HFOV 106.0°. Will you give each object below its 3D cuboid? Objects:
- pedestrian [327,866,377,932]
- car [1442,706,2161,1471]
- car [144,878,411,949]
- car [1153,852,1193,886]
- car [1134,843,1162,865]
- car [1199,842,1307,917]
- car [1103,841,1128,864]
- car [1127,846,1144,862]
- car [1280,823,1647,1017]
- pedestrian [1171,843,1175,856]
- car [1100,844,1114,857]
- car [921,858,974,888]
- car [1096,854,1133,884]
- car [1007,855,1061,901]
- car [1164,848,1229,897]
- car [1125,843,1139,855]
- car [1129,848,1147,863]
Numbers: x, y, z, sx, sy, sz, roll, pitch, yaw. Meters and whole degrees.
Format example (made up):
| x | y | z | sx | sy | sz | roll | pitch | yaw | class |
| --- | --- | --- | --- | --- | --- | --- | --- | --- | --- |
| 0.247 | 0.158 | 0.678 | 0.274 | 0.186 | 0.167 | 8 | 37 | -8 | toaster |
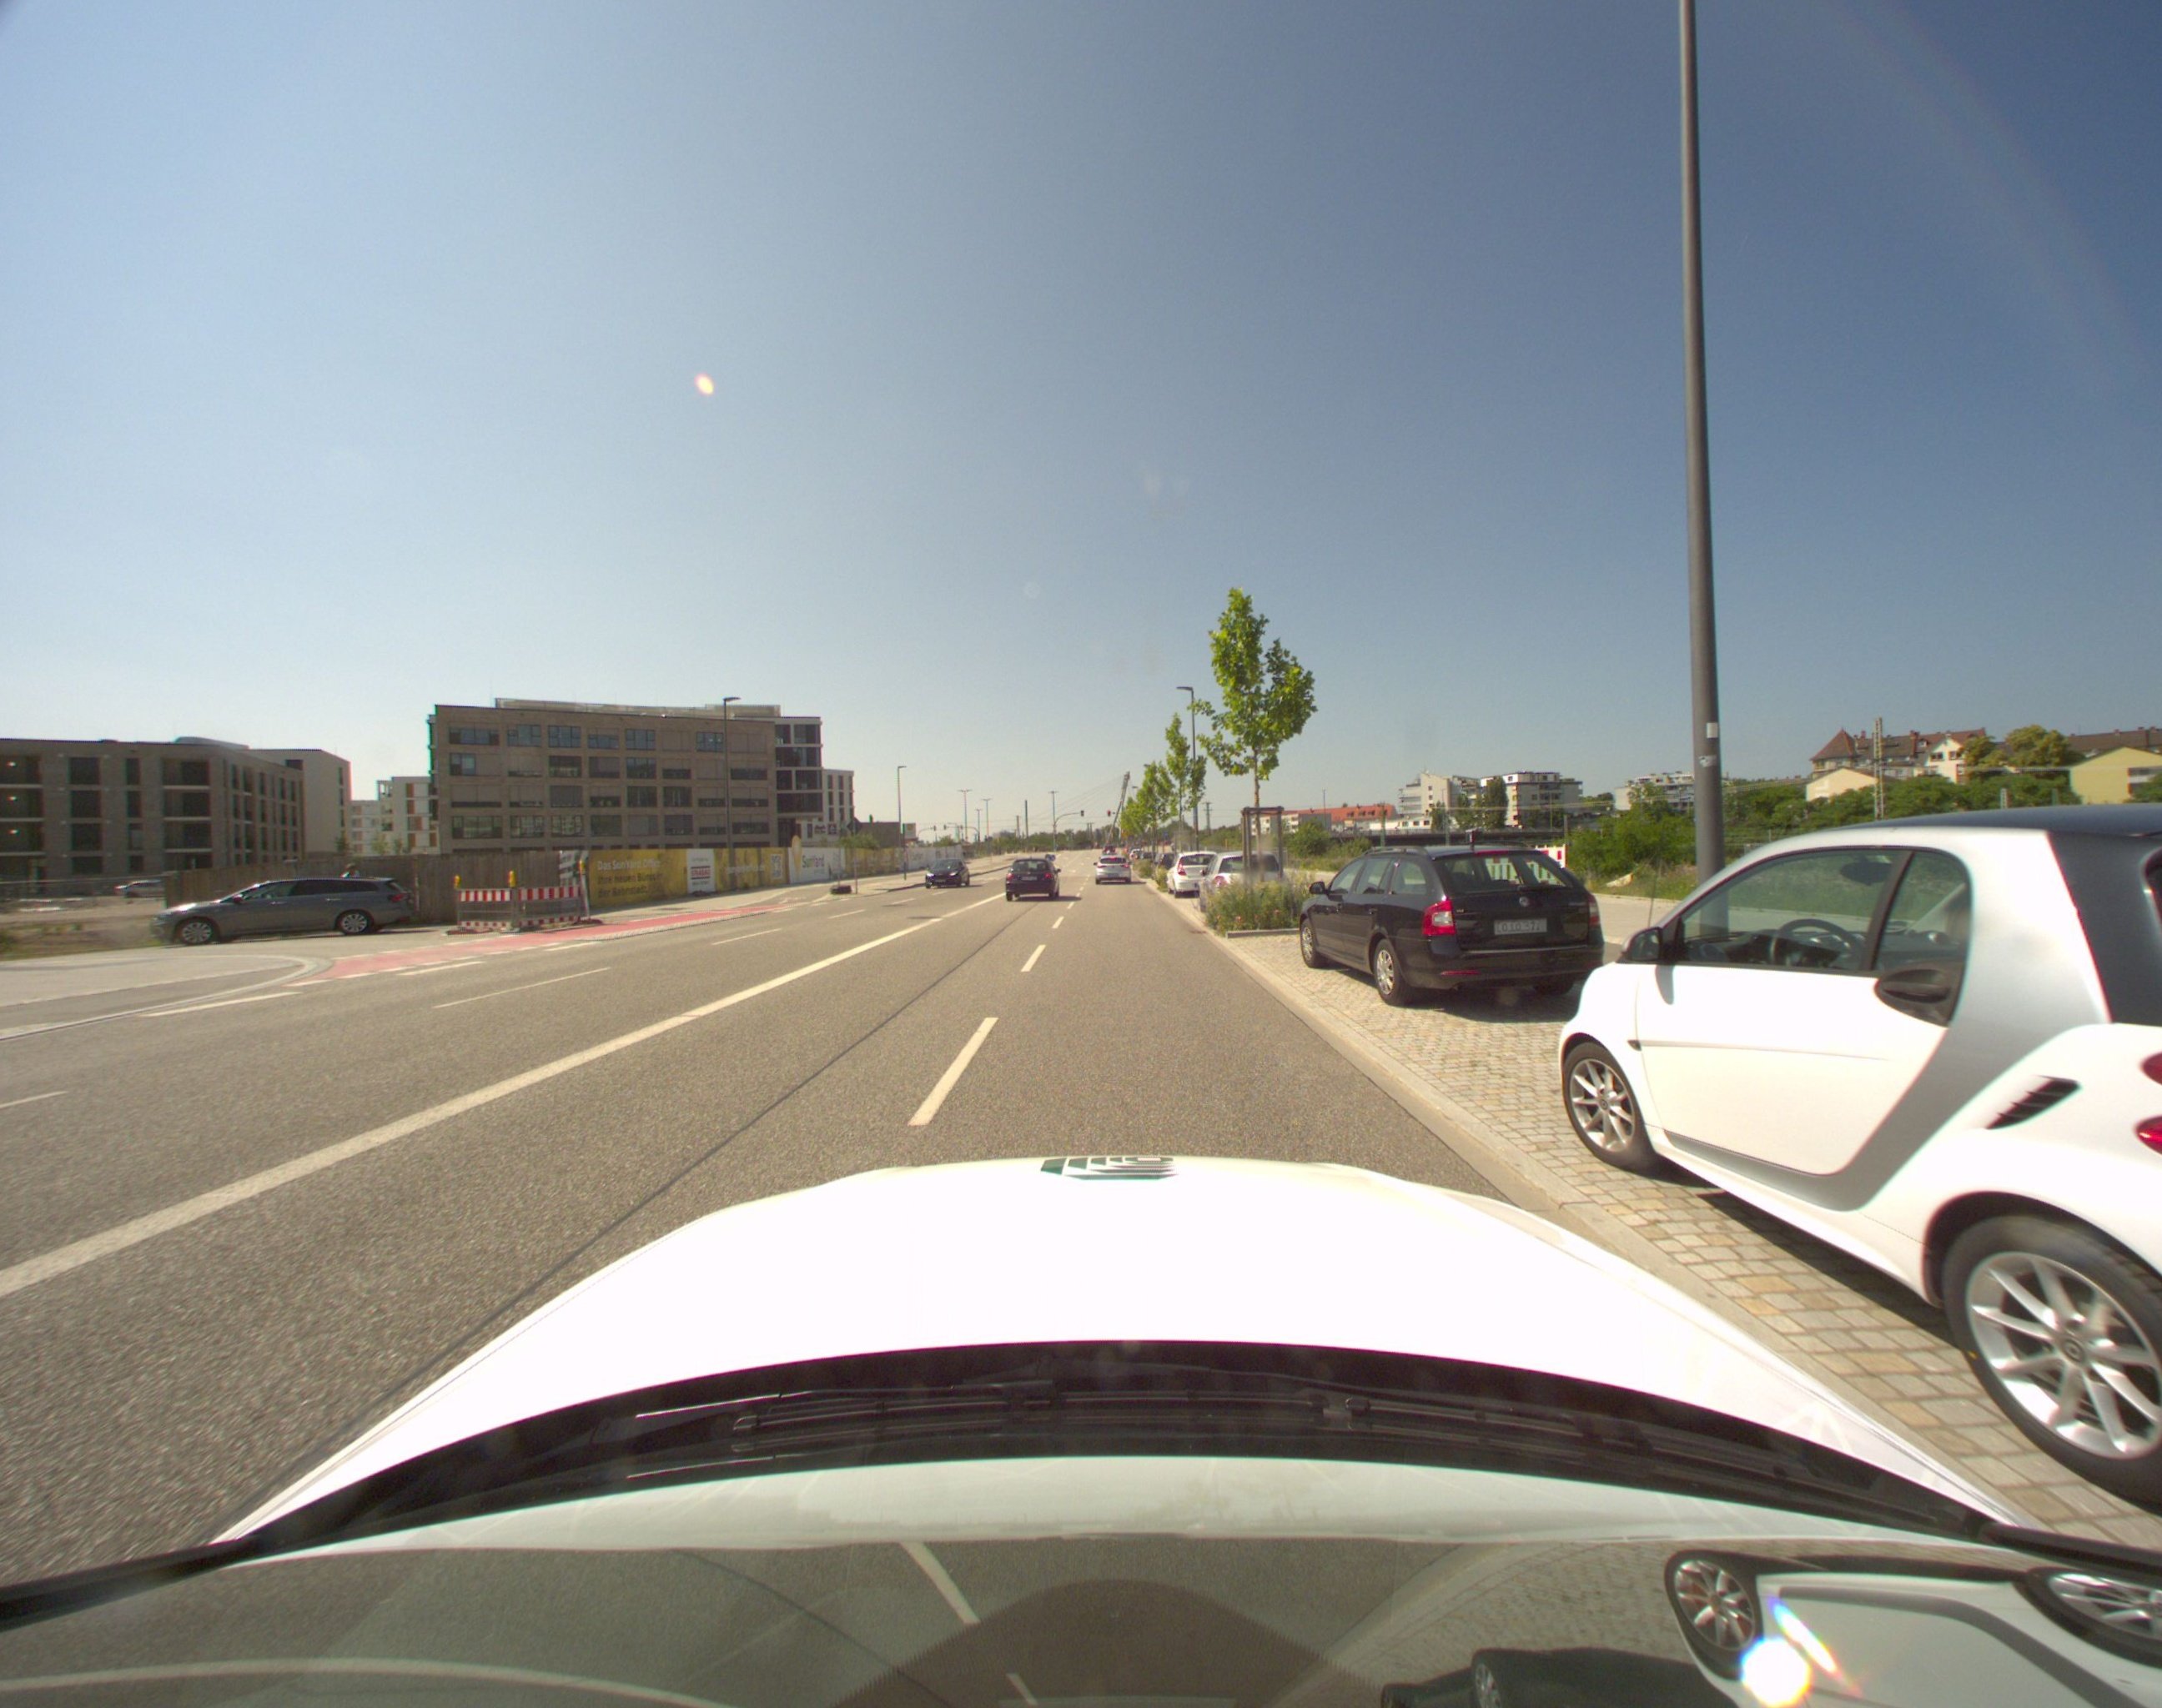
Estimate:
| x | y | z | sx | sy | sz | roll | pitch | yaw | class |
| --- | --- | --- | --- | --- | --- | --- | --- | --- | --- |
| -19.216 | 1.171 | 21.466 | 0.678 | 1.684 | 0.760 | -1 | -1 | 27 | pedestrian |
| 3.320 | 0.445 | 3.544 | 1.899 | 1.577 | 4.163 | -2 | 0 | 5 | car |
| -19.232 | 1.362 | 19.832 | 4.264 | 1.318 | 1.979 | -3 | 0 | -34 | car |
| 4.312 | 0.667 | 38.760 | 1.696 | 1.462 | 4.089 | -1 | 0 | 4 | car |
| 4.973 | 0.037 | 60.537 | 1.699 | 1.462 | 3.953 | -3 | -1 | 0 | car |
| 3.834 | 0.517 | 18.859 | 1.899 | 1.479 | 4.163 | -2 | 0 | 5 | car |
| 2.580 | -0.139 | 61.366 | 1.771 | 1.568 | 4.003 | -2 | 1 | 2 | car |
| 6.198 | -0.058 | 92.219 | 1.814 | 1.616 | 3.614 | -3 | 1 | 3 | car |
| 3.688 | 0.571 | 8.887 | 1.784 | 1.477 | 4.369 | -4 | -1 | -2 | car |
| 11.577 | -0.585 | 102.575 | 0.531 | 1.575 | 0.524 | 0 | -1 | 2 | pedestrian |
| 3.584 | -0.496 | 112.200 | 1.771 | 1.568 | 4.003 | -2 | 1 | 2 | car |
| -6.574 | 0.893 | 40.565 | 1.697 | 1.352 | 4.458 | -2 | 0 | 2 | car |
| 1.728 | 0.736 | 41.567 | 1.771 | 1.442 | 4.003 | -1 | 0 | 2 | car |
| -1.555 | 0.774 | 28.149 | 1.614 | 1.416 | 3.726 | -2 | 0 | 0 | car |
| 3.843 | 0.579 | 27.631 | 1.739 | 1.509 | 4.003 | -1 | 0 | 2 | car |
| 6.913 | -0.672 | 110.542 | 1.771 | 1.503 | 4.002 | -3 | 1 | 2 | car |
| 5.978 | 0.129 | 85.560 | 1.690 | 1.475 | 4.208 | -3 | 1 | 3 | car |
